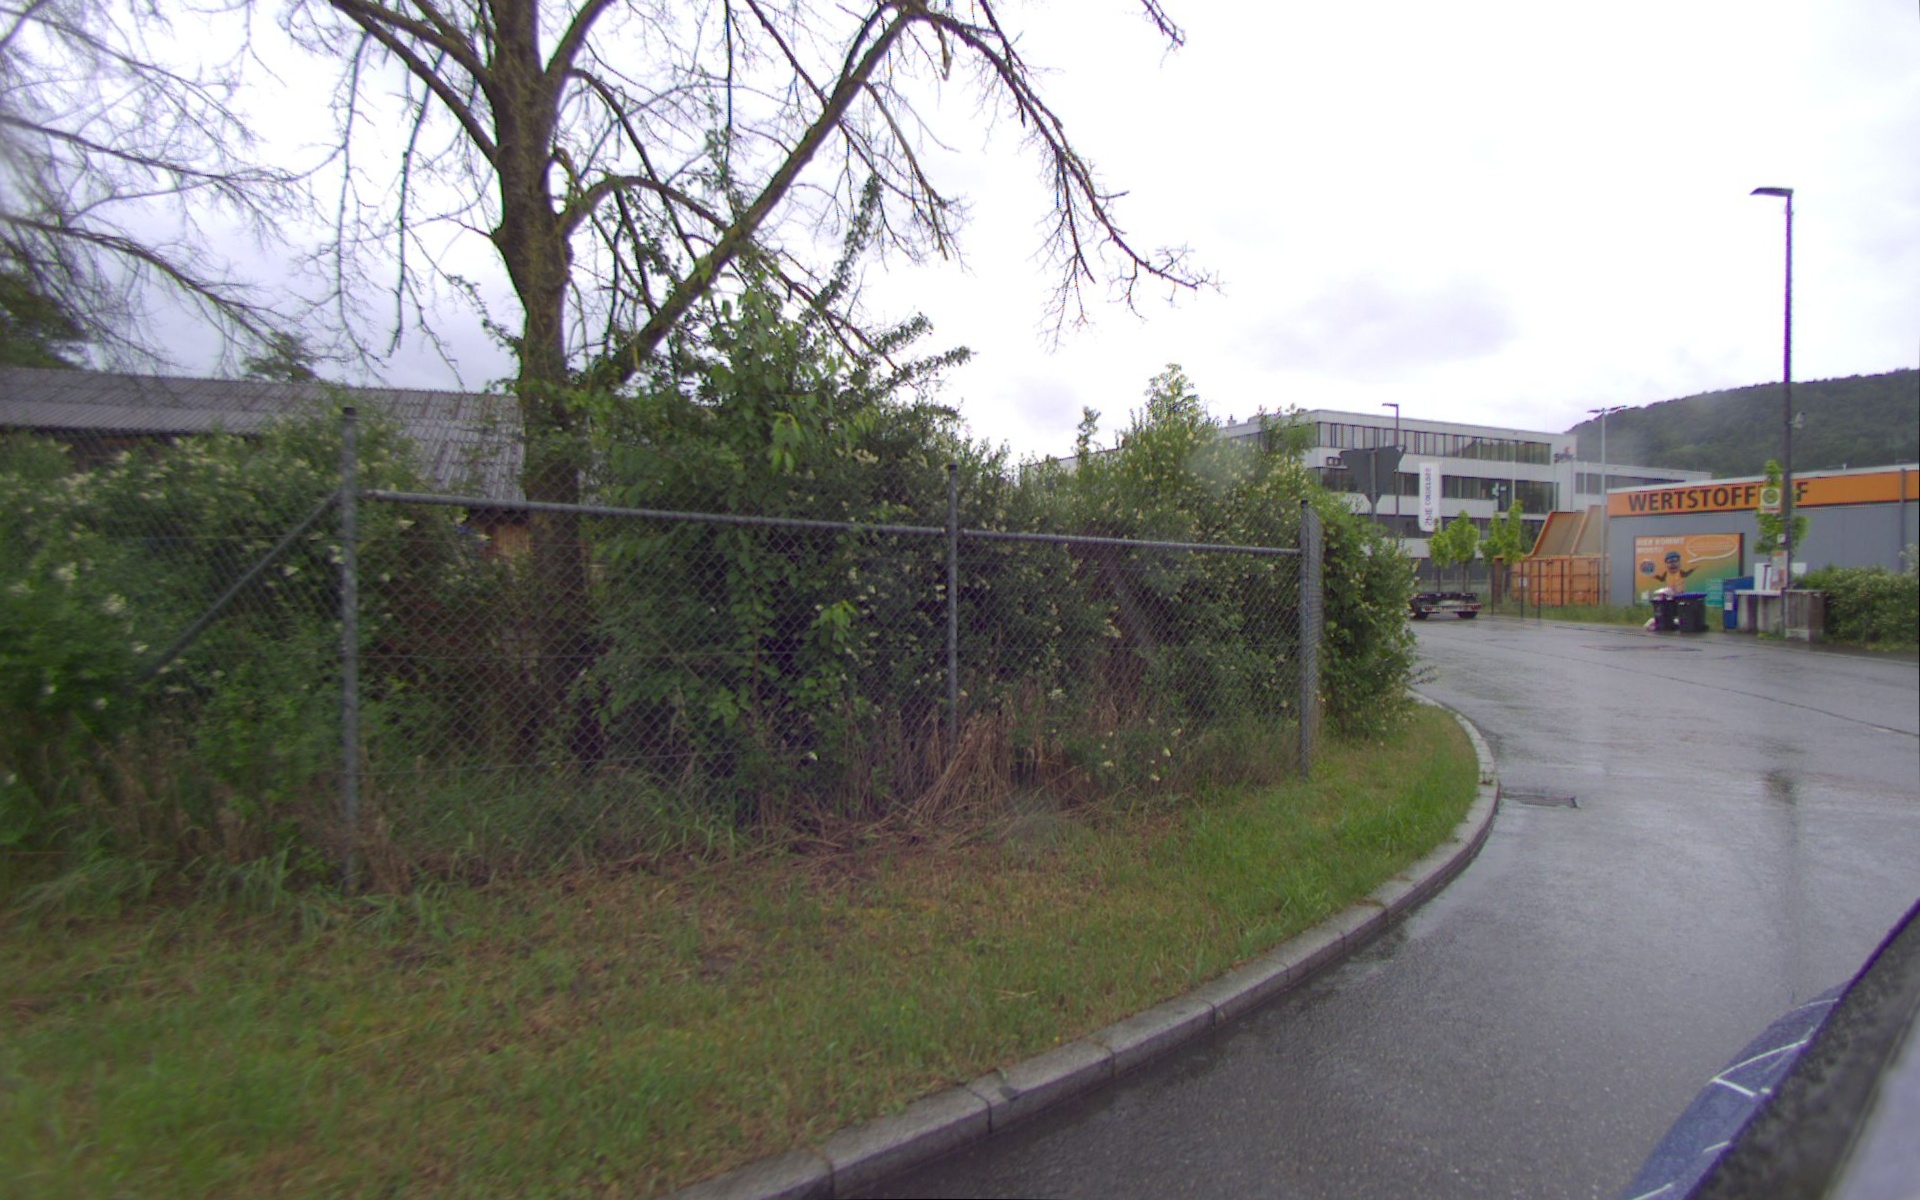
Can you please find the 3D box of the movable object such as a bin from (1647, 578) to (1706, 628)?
[{"bbox_3d":[19.802,0.070,27.996,0.965,1.339,1.000,0,1,10],"label":"movable object such as a bin"}]

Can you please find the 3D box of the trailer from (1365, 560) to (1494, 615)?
[{"bbox_3d":[19.233,-0.535,41.919,2.530,2.039,6.632,-1,1,3],"label":"trailer"}]

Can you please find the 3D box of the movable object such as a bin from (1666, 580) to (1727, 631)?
[{"bbox_3d":[19.625,0.131,26.997,0.965,1.339,1.000,0,1,10],"label":"movable object such as a bin"}]
